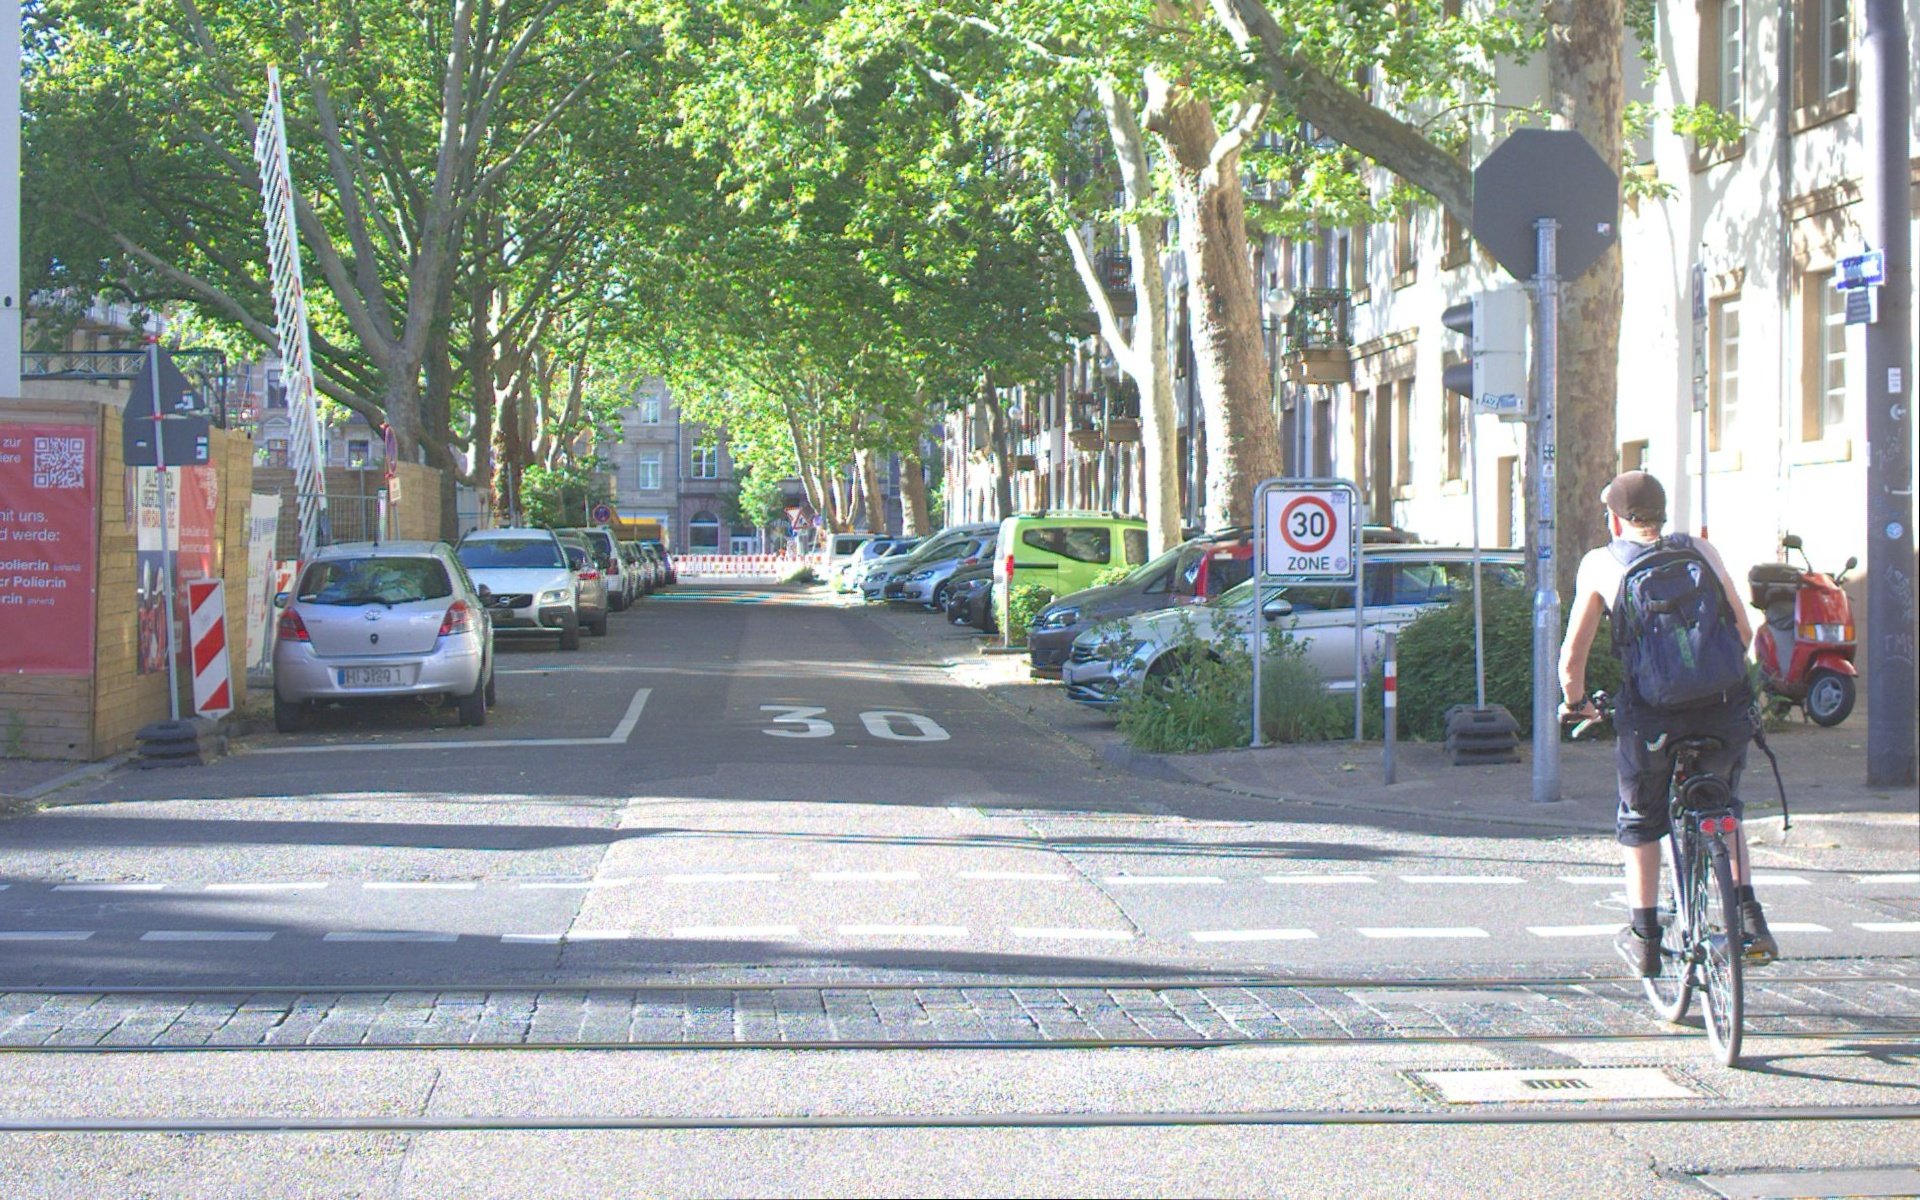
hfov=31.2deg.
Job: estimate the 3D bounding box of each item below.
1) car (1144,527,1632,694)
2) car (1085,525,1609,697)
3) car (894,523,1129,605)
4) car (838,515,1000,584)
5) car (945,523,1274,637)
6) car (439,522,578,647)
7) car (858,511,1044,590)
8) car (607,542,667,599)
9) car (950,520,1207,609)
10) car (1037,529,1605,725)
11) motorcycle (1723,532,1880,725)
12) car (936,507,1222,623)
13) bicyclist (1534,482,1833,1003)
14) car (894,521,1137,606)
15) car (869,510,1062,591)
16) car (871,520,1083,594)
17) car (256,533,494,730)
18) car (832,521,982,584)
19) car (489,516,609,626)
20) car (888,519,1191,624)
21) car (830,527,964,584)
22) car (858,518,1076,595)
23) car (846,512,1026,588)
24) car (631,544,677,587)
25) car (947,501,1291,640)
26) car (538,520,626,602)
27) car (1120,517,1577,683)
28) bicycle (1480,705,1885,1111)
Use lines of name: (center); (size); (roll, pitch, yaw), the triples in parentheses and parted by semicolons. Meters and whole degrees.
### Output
car: (4.138, 0.088, 33.617); (4.461, 1.565, 1.729); (0, 1, -5)
car: (3.461, 0.085, 31.202); (4.461, 1.495, 1.729); (0, 1, -5)
car: (0.994, -0.721, 67.669); (4.461, 1.565, 1.729); (0, 1, -5)
car: (-1.185, -1.437, 97.583); (4.461, 1.891, 1.729); (0, 1, -5)
car: (2.081, -0.298, 48.682); (4.461, 1.565, 1.729); (0, 1, -5)
car: (-5.890, -0.236, 45.133); (1.665, 1.557, 4.001); (0, 1, -6)
car: (-0.249, -1.228, 84.798); (4.461, 1.891, 1.729); (0, 1, -5)
car: (-9.242, -0.866, 98.377); (1.665, 1.557, 4.220); (0, 1, -6)
car: (2.116, -0.648, 62.047); (4.461, 1.565, 1.729); (0, 1, -5)
car: (2.955, 0.207, 28.711); (4.461, 1.565, 1.729); (0, 1, -5)
motorcycle: (6.034, 0.184, 24.733); (0.513, 1.328, 1.764); (0, 1, -6)
car: (1.905, -0.582, 55.892); (4.461, 1.830, 1.729); (0, 1, -5)
bicyclist: (2.172, 0.414, 10.393); (0.676, 1.508, 0.669); (2, 1, -4)
car: (1.031, -0.691, 65.191); (4.461, 1.565, 1.729); (0, 1, -5)
car: (0.118, -1.176, 82.047); (4.461, 1.891, 1.729); (0, 1, -5)
car: (0.346, -0.944, 74.729); (4.461, 1.565, 1.729); (0, 1, -5)
car: (-4.868, 0.206, 29.034); (1.643, 1.489, 4.001); (-2, 1, -5)
car: (-1.642, -1.452, 105.001); (4.461, 1.891, 1.729); (0, 1, -5)
car: (-6.036, -0.457, 50.844); (1.665, 1.557, 4.520); (0, 1, -6)
car: (1.189, -0.442, 52.574); (4.461, 1.565, 1.729); (0, 1, -5)
car: (-2.171, -1.520, 117.171); (4.461, 1.891, 1.729); (0, 1, -5)
car: (0.122, -0.923, 72.391); (4.461, 1.565, 1.729); (0, 1, -5)
car: (-0.639, -1.278, 87.650); (4.461, 1.891, 1.729); (0, 1, -5)
car: (-11.404, -1.306, 128.131); (1.665, 1.557, 4.220); (0, 1, -6)
car: (2.127, -0.409, 46.662); (4.461, 1.830, 1.729); (0, 1, -5)
car: (-7.393, -0.785, 67.517); (1.665, 1.557, 4.617); (0, 1, -6)
car: (3.988, -0.016, 35.698); (4.461, 1.665, 1.729); (0, 1, -5)
bicycle: (2.149, 0.886, 10.489); (0.689, 1.013, 1.908); (2, 1, -4)
